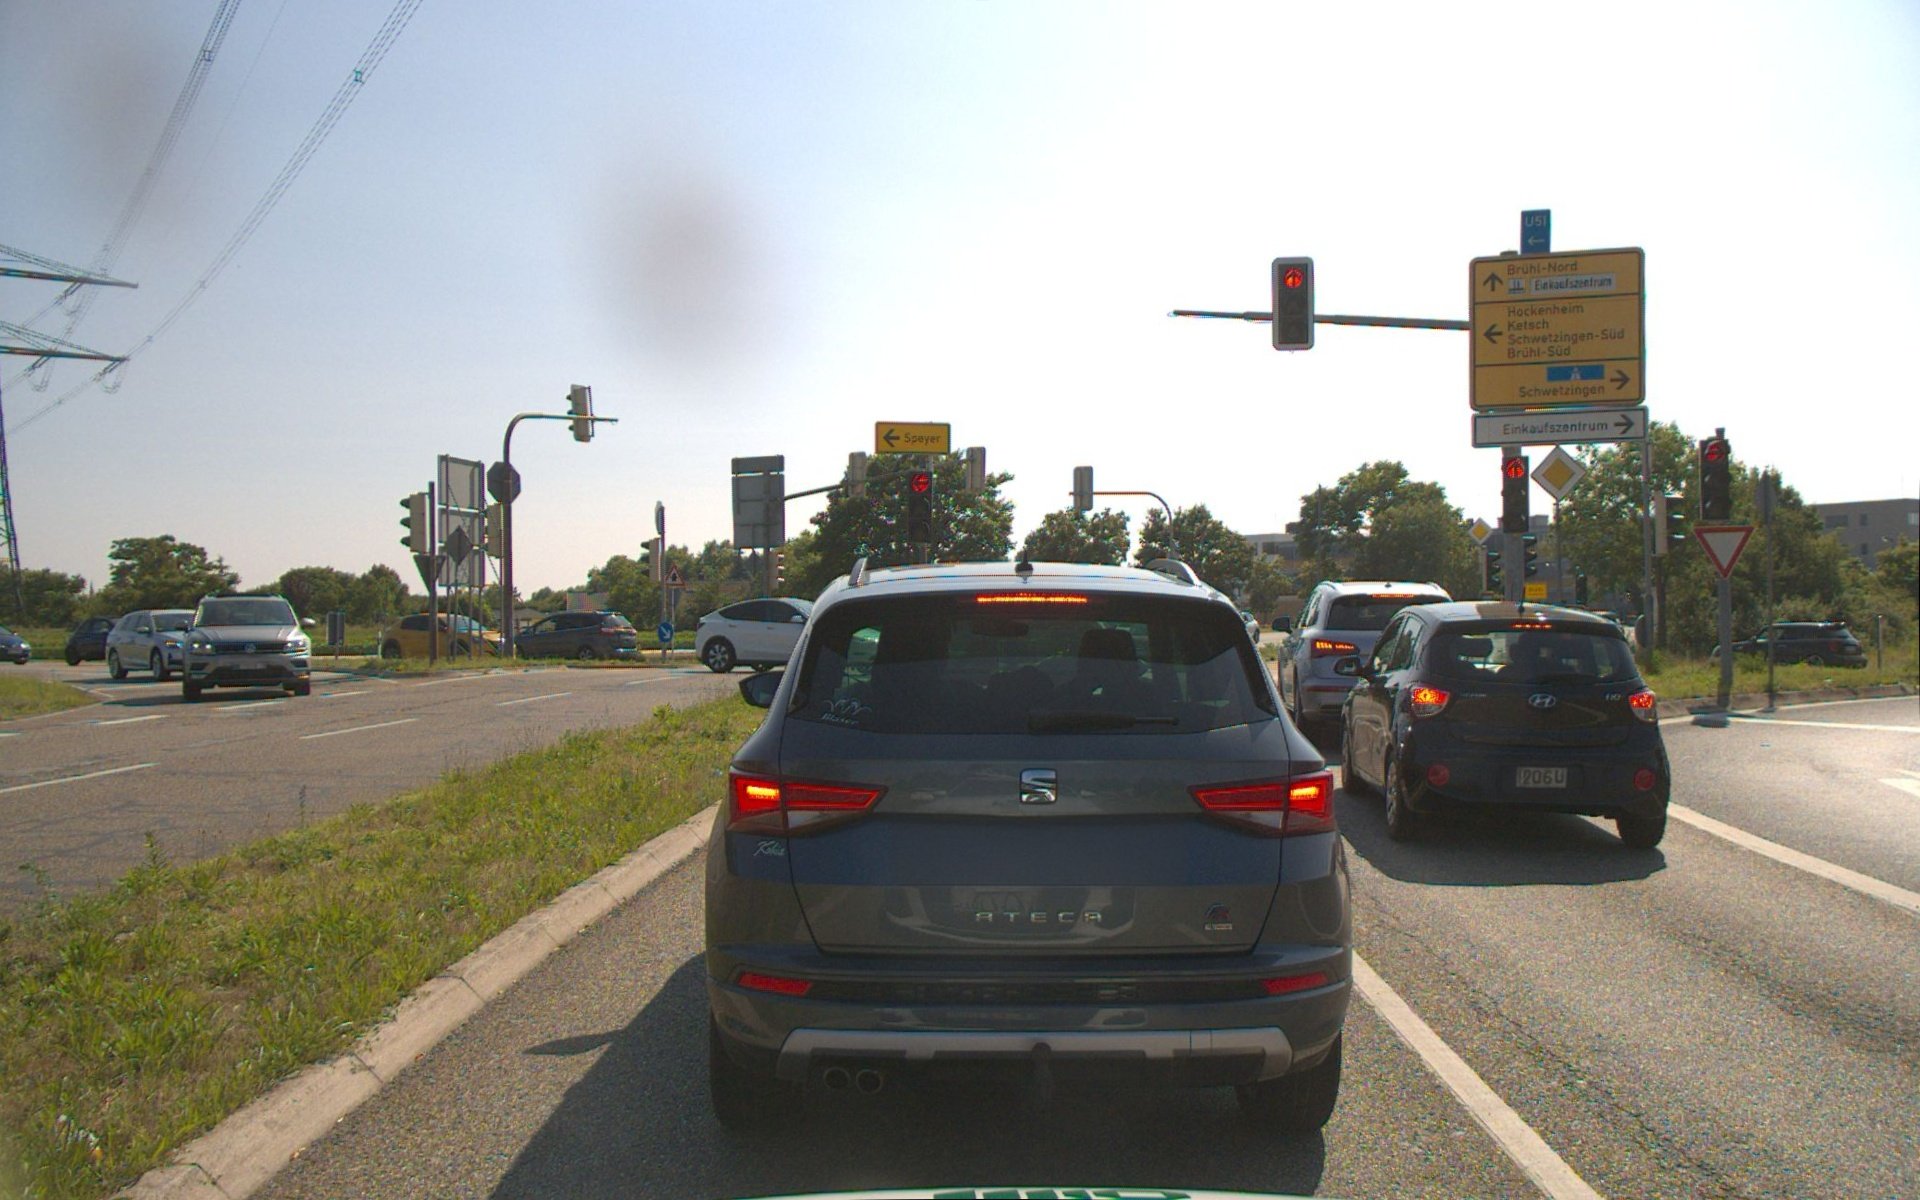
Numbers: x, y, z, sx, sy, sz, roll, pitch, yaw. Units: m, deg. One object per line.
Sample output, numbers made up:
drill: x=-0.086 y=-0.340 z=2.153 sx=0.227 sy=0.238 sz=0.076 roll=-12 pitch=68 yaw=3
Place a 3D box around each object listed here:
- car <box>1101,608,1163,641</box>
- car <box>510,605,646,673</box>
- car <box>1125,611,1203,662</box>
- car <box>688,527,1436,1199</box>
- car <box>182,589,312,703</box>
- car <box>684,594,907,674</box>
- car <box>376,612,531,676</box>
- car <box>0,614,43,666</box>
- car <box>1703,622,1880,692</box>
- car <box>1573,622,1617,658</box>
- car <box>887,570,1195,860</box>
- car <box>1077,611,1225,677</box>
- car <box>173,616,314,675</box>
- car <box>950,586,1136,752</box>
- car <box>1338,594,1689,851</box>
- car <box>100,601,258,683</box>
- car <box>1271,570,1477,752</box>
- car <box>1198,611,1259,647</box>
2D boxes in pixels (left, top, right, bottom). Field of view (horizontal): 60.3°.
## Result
car: x=8.327 y=1.185 z=79.800 sx=1.685 sy=1.524 sz=3.765 roll=1 pitch=0 yaw=28
car: x=-11.609 y=1.148 z=50.191 sx=3.932 sy=1.987 sz=1.693 roll=-1 pitch=-1 yaw=30
car: x=7.214 y=1.260 z=58.116 sx=1.838 sy=1.702 sz=3.770 roll=1 pitch=0 yaw=21
car: x=0.217 y=0.658 z=5.646 sx=1.706 sy=1.596 sz=3.623 roll=1 pitch=0 yaw=-1
car: x=-11.438 y=0.694 z=26.683 sx=1.789 sy=1.680 sz=3.973 roll=0 pitch=0 yaw=-22
car: x=-3.651 y=0.730 z=36.521 sx=4.653 sy=1.680 sz=1.818 roll=-1 pitch=0 yaw=27
car: x=-13.887 y=1.183 z=45.319 sx=3.910 sy=1.680 sz=1.818 roll=-1 pitch=0 yaw=27
car: x=-32.671 y=1.340 z=55.168 sx=3.910 sy=1.680 sz=1.818 roll=-1 pitch=0 yaw=27
car: x=21.934 y=1.469 z=43.775 sx=1.802 sy=1.725 sz=3.845 roll=0 pitch=0 yaw=-30
car: x=31.592 y=1.954 z=82.238 sx=1.839 sy=1.702 sz=3.767 roll=1 pitch=0 yaw=24
car: x=0.462 y=0.659 z=11.136 sx=1.706 sy=1.596 sz=3.624 roll=1 pitch=0 yaw=0
car: x=4.886 y=1.099 z=42.344 sx=3.465 sy=1.542 sz=1.460 roll=1 pitch=0 yaw=27
car: x=-21.470 y=1.340 z=49.565 sx=3.910 sy=1.680 sz=1.818 roll=-1 pitch=0 yaw=27
car: x=0.916 y=0.656 z=17.264 sx=1.705 sy=1.510 sz=3.626 roll=1 pitch=0 yaw=4
car: x=3.626 y=0.714 z=11.373 sx=1.598 sy=1.473 sz=3.297 roll=1 pitch=0 yaw=6
car: x=-17.037 y=0.890 z=36.013 sx=3.930 sy=1.680 sz=1.809 roll=-1 pitch=-1 yaw=43
car: x=4.291 y=0.582 z=17.613 sx=1.598 sy=1.706 sz=3.752 roll=1 pitch=0 yaw=6
car: x=13.156 y=1.407 z=80.844 sx=1.841 sy=1.702 sz=3.765 roll=1 pitch=0 yaw=28
